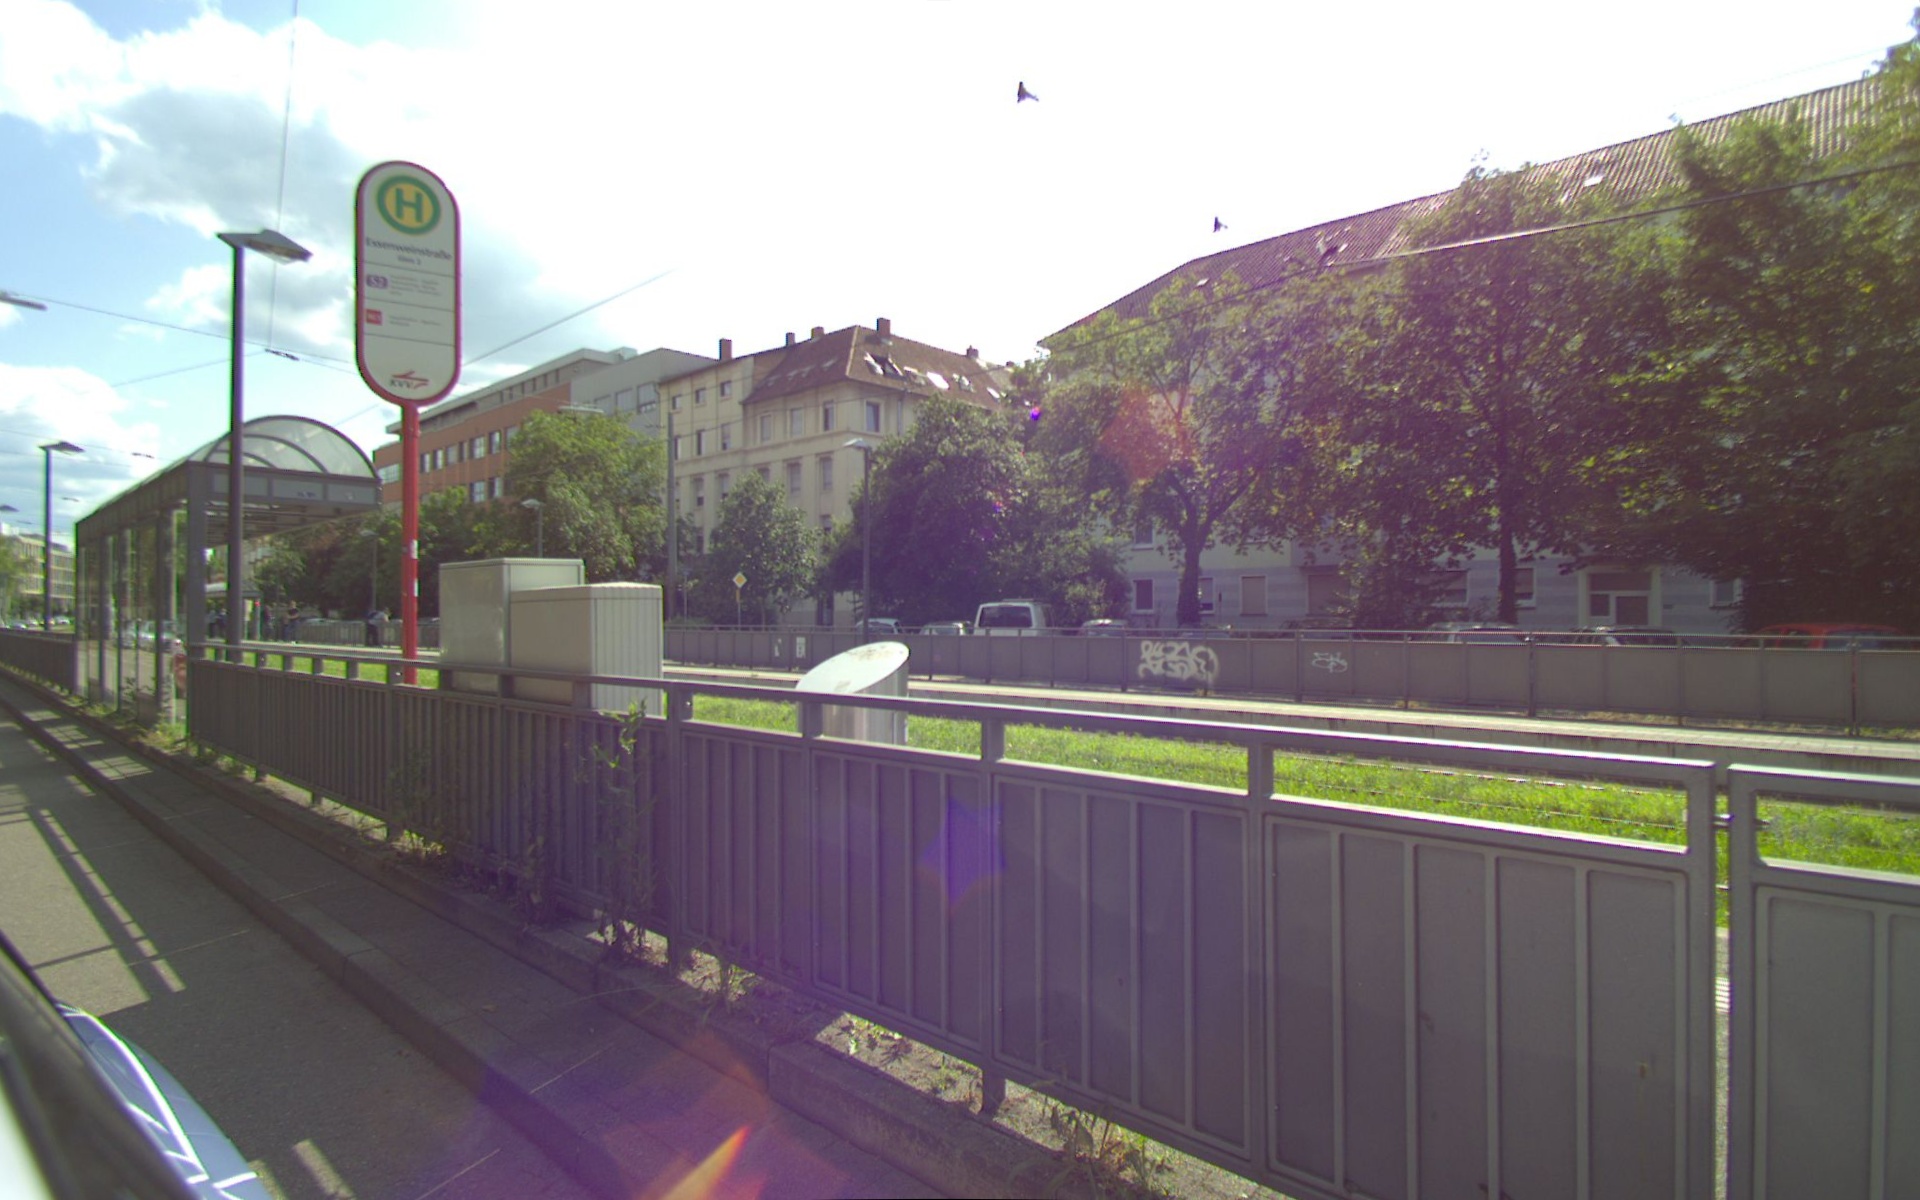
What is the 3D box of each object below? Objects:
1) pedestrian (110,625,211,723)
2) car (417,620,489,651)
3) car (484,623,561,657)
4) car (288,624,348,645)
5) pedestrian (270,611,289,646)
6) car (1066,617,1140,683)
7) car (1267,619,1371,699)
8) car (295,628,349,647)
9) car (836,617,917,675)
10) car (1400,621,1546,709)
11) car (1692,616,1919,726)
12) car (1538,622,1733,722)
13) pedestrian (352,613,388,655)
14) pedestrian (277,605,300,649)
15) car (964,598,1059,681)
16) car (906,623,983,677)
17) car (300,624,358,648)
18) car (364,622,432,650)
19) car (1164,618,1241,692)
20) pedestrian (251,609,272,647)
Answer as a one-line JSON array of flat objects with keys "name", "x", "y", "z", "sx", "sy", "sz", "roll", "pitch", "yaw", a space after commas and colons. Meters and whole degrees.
[{"name": "pedestrian", "x": -9.193, "y": 0.839, "z": 11.663, "sx": 0.652, "sy": 1.080, "sz": 0.725, "roll": 0, "pitch": -2, "yaw": -13}, {"name": "car", "x": -28.400, "y": 1.965, "z": 56.816, "sx": 1.811, "sy": 1.652, "sz": 4.132, "roll": 1, "pitch": -1, "yaw": 3}, {"name": "car", "x": -21.540, "y": 1.950, "z": 49.985, "sx": 1.901, "sy": 1.576, "sz": 4.150, "roll": 1, "pitch": -1, "yaw": 2}, {"name": "car", "x": -47.968, "y": 2.565, "z": 75.706, "sx": 1.631, "sy": 1.508, "sz": 3.993, "roll": -1, "pitch": -1, "yaw": 6}, {"name": "pedestrian", "x": -32.729, "y": 1.369, "z": 48.683, "sx": 0.625, "sy": 1.687, "sz": 0.600, "roll": -1, "pitch": -1, "yaw": 43}, {"name": "car", "x": 3.807, "y": 1.258, "z": 26.522, "sx": 1.701, "sy": 1.591, "sz": 3.937, "roll": -1, "pitch": -1, "yaw": 11}, {"name": "car", "x": 7.742, "y": 1.227, "z": 22.110, "sx": 1.632, "sy": 1.591, "sz": 3.652, "roll": -1, "pitch": -1, "yaw": 12}, {"name": "car", "x": -45.812, "y": 2.681, "z": 72.728, "sx": 1.585, "sy": 1.314, "sz": 3.244, "roll": -1, "pitch": -1, "yaw": 8}, {"name": "car", "x": -2.541, "y": 1.403, "z": 31.845, "sx": 1.805, "sy": 1.652, "sz": 3.992, "roll": -2, "pitch": -1, "yaw": 6}, {"name": "car", "x": 9.855, "y": 1.171, "z": 19.742, "sx": 1.593, "sy": 1.525, "sz": 4.011, "roll": 0, "pitch": -1, "yaw": 13}, {"name": "car", "x": 13.829, "y": 1.065, "z": 16.551, "sx": 1.632, "sy": 1.591, "sz": 3.652, "roll": -1, "pitch": -1, "yaw": 12}, {"name": "car", "x": 11.911, "y": 1.193, "z": 18.130, "sx": 1.632, "sy": 1.591, "sz": 3.652, "roll": -1, "pitch": -1, "yaw": 12}, {"name": "pedestrian", "x": -22.940, "y": 1.324, "z": 39.324, "sx": 0.798, "sy": 1.590, "sz": 0.978, "roll": -1, "pitch": -1, "yaw": 40}, {"name": "pedestrian", "x": -29.852, "y": 1.190, "z": 45.009, "sx": 0.742, "sy": 1.906, "sz": 0.639, "roll": 1, "pitch": 1, "yaw": -45}, {"name": "car", "x": 1.503, "y": 1.057, "z": 27.814, "sx": 2.029, "sy": 2.086, "sz": 3.937, "roll": -1, "pitch": -1, "yaw": 12}, {"name": "car", "x": -0.393, "y": 1.452, "z": 30.194, "sx": 1.591, "sy": 1.497, "sz": 3.988, "roll": -1, "pitch": -1, "yaw": 9}, {"name": "car", "x": -43.812, "y": 2.482, "z": 70.367, "sx": 1.569, "sy": 1.431, "sz": 3.299, "roll": -1, "pitch": 1, "yaw": 13}, {"name": "car", "x": -34.717, "y": 2.210, "z": 62.656, "sx": 1.652, "sy": 1.540, "sz": 3.992, "roll": -2, "pitch": 0, "yaw": 6}, {"name": "car", "x": 5.688, "y": 1.245, "z": 23.967, "sx": 1.632, "sy": 1.591, "sz": 3.652, "roll": -1, "pitch": -1, "yaw": 12}, {"name": "pedestrian", "x": -33.294, "y": 1.336, "z": 48.247, "sx": 0.599, "sy": 1.767, "sz": 0.626, "roll": 0, "pitch": -1, "yaw": -7}]
